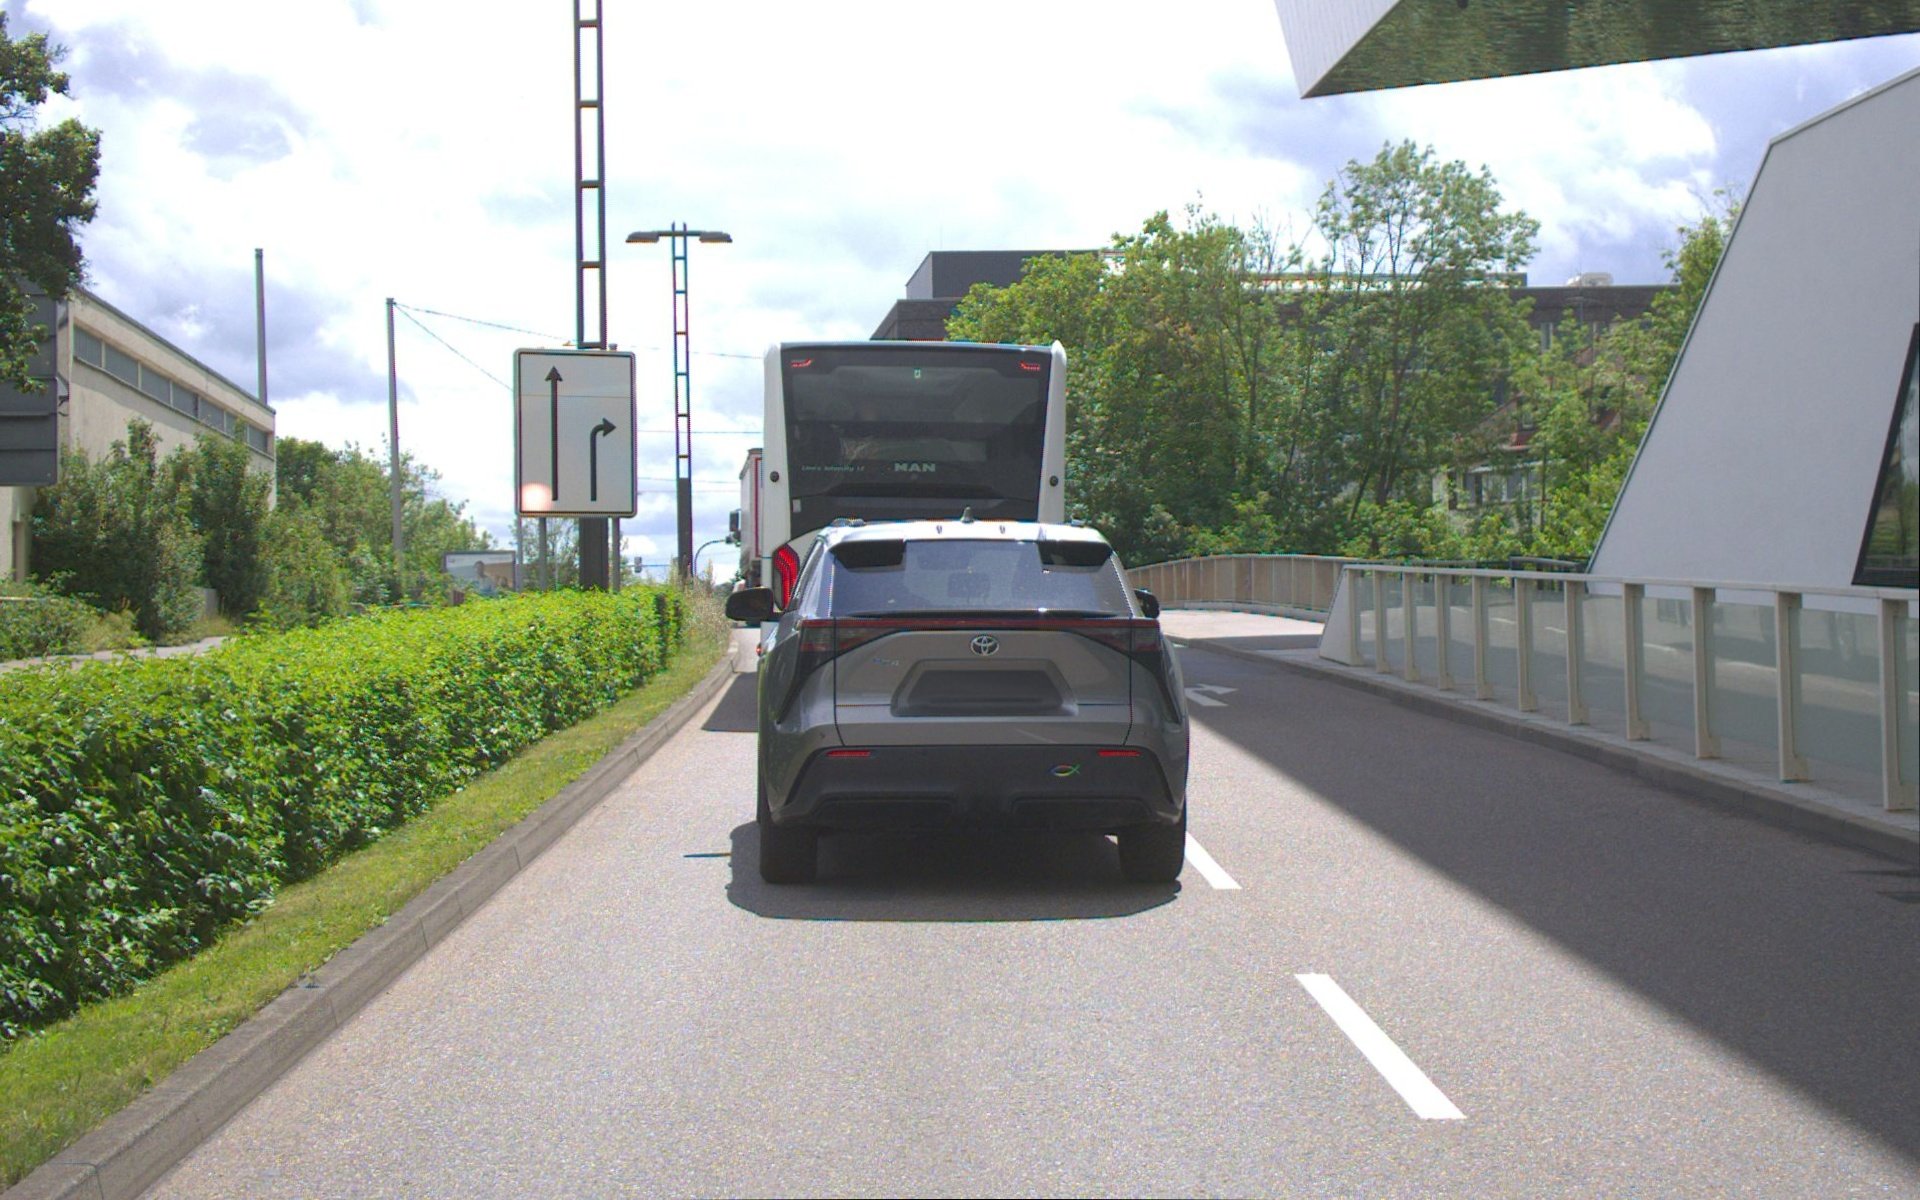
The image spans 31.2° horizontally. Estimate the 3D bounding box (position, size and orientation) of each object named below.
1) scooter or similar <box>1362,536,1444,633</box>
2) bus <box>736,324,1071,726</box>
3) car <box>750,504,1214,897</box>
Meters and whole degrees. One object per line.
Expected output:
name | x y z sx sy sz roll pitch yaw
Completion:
scooter or similar | 5.765 -0.204 44.826 0.653 1.210 1.858 -2 1 -4
bus | -0.503 -0.784 33.985 2.689 3.244 12.058 1 2 0
car | 0.025 0.392 16.107 1.879 1.588 4.230 0 0 -2
